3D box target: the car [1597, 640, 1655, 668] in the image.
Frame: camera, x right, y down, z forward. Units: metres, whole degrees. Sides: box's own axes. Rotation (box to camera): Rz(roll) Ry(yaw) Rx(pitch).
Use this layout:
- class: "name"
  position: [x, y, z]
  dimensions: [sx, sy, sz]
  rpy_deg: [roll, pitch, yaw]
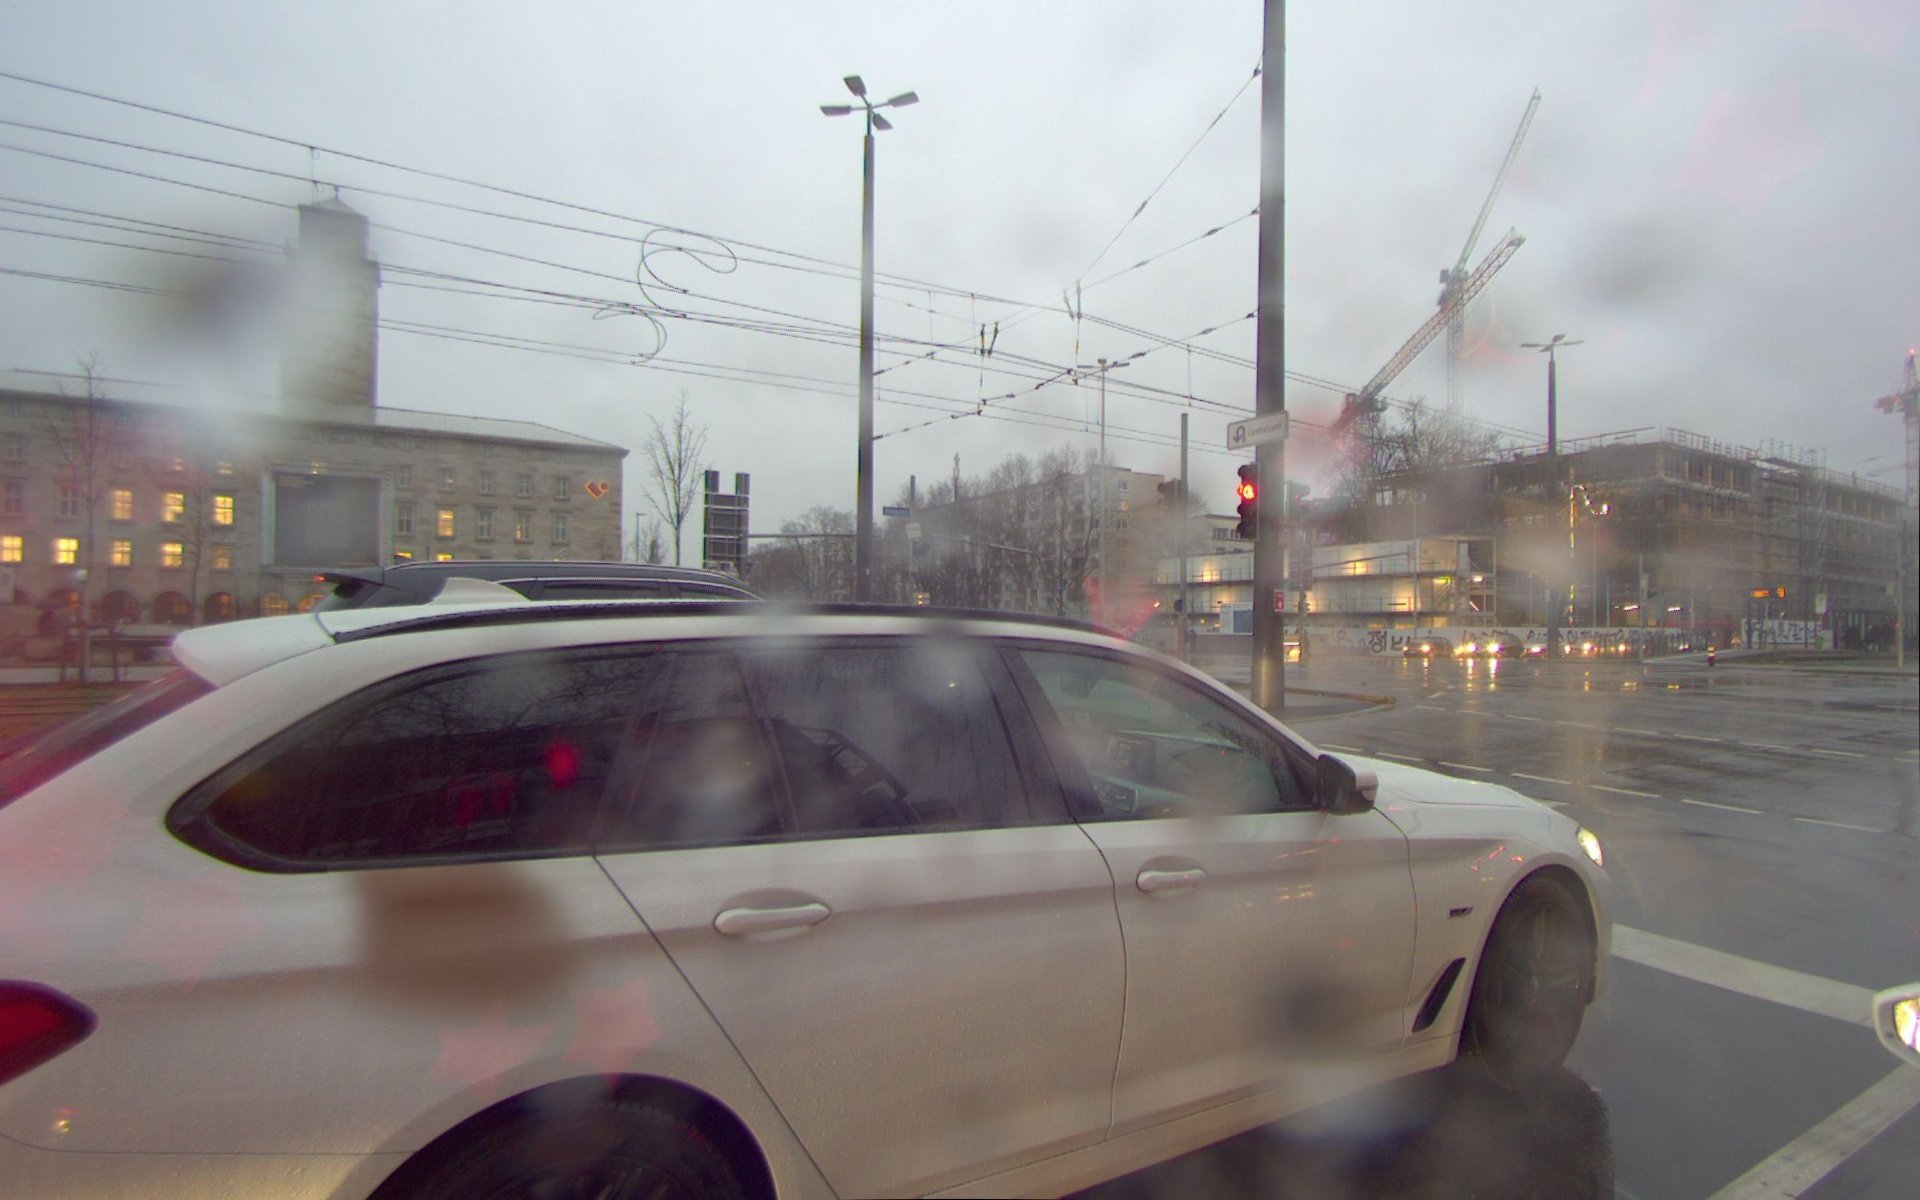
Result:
- class: "car"
  position: [46.927, 3.802, 70.748]
  dimensions: [3.958, 1.814, 1.982]
  rpy_deg: [2, 0, -33]

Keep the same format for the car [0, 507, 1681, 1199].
- class: "car"
  position: [0.004, 0.706, 3.092]
  dimensions: [4.508, 1.506, 2.007]
  rpy_deg: [2, -2, -31]

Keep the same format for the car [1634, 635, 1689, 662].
- class: "car"
  position: [51.537, 3.540, 73.754]
  dimensions: [3.958, 1.814, 1.982]
  rpy_deg: [2, 0, -33]

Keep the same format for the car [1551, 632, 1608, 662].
- class: "car"
  position: [41.060, 3.116, 66.544]
  dimensions: [3.963, 1.852, 1.852]
  rpy_deg: [2, 0, -37]

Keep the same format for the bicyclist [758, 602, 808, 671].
- class: "bicyclist"
  position: [-4.980, 1.018, 28.231]
  dimensions: [1.147, 1.896, 0.739]
  rpy_deg: [2, 0, -31]

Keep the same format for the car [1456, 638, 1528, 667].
- class: "car"
  position: [31.304, 3.078, 59.118]
  dimensions: [3.953, 1.679, 1.984]
  rpy_deg: [2, -2, -30]

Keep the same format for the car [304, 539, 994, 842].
- class: "car"
  position: [-2.075, 0.553, 7.229]
  dimensions: [4.238, 1.605, 1.958]
  rpy_deg: [2, -1, -29]

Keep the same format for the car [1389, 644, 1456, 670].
- class: "car"
  position: [29.328, 3.573, 63.628]
  dimensions: [3.953, 1.550, 1.984]
  rpy_deg: [2, -2, -30]

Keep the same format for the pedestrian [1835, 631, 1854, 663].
- class: "pedestrian"
  position: [54.343, 2.881, 61.697]
  dimensions: [0.547, 1.906, 0.695]
  rpy_deg: [2, 0, -30]

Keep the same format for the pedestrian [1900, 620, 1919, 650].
- class: "pedestrian"
  position: [66.188, 2.415, 69.915]
  dimensions: [1.084, 2.040, 0.935]
  rpy_deg: [2, 0, -37]

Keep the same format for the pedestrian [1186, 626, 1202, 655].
- class: "pedestrian"
  position: [16.652, 2.892, 71.616]
  dimensions: [0.737, 2.040, 0.783]
  rpy_deg: [2, 0, -25]

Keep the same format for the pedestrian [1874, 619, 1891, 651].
- class: "pedestrian"
  position: [57.936, 2.188, 63.078]
  dimensions: [0.659, 1.994, 0.566]
  rpy_deg: [2, 1, -36]

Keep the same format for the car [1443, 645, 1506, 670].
- class: "car"
  position: [34.625, 3.844, 67.529]
  dimensions: [3.953, 1.550, 1.984]
  rpy_deg: [2, -2, -30]

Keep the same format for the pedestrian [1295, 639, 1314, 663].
- class: "pedestrian"
  position: [20.834, 3.094, 60.754]
  dimensions: [0.714, 1.407, 0.727]
  rpy_deg: [2, 0, -21]

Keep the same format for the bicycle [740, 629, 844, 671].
- class: "bicycle"
  position: [-4.731, 1.419, 28.393]
  dimensions: [2.833, 1.114, 0.739]
  rpy_deg: [2, 0, -31]

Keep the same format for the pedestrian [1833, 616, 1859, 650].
- class: "pedestrian"
  position: [55.330, 2.051, 62.729]
  dimensions: [1.081, 2.040, 0.937]
  rpy_deg: [2, 0, -31]

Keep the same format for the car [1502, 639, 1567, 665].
- class: "car"
  position: [35.870, 3.240, 62.716]
  dimensions: [4.577, 1.550, 2.059]
  rpy_deg: [2, -2, -40]

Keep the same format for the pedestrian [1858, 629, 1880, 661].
- class: "pedestrian"
  position: [55.815, 2.784, 61.699]
  dimensions: [0.754, 1.922, 0.761]
  rpy_deg: [3, -1, -30]

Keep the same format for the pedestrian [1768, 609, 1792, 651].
- class: "pedestrian"
  position: [47.230, 1.716, 57.847]
  dimensions: [0.754, 2.354, 0.761]
  rpy_deg: [3, -1, -30]

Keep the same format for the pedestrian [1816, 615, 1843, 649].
- class: "pedestrian"
  position: [53.235, 1.982, 61.489]
  dimensions: [1.082, 2.040, 0.936]
  rpy_deg: [2, 0, -33]
